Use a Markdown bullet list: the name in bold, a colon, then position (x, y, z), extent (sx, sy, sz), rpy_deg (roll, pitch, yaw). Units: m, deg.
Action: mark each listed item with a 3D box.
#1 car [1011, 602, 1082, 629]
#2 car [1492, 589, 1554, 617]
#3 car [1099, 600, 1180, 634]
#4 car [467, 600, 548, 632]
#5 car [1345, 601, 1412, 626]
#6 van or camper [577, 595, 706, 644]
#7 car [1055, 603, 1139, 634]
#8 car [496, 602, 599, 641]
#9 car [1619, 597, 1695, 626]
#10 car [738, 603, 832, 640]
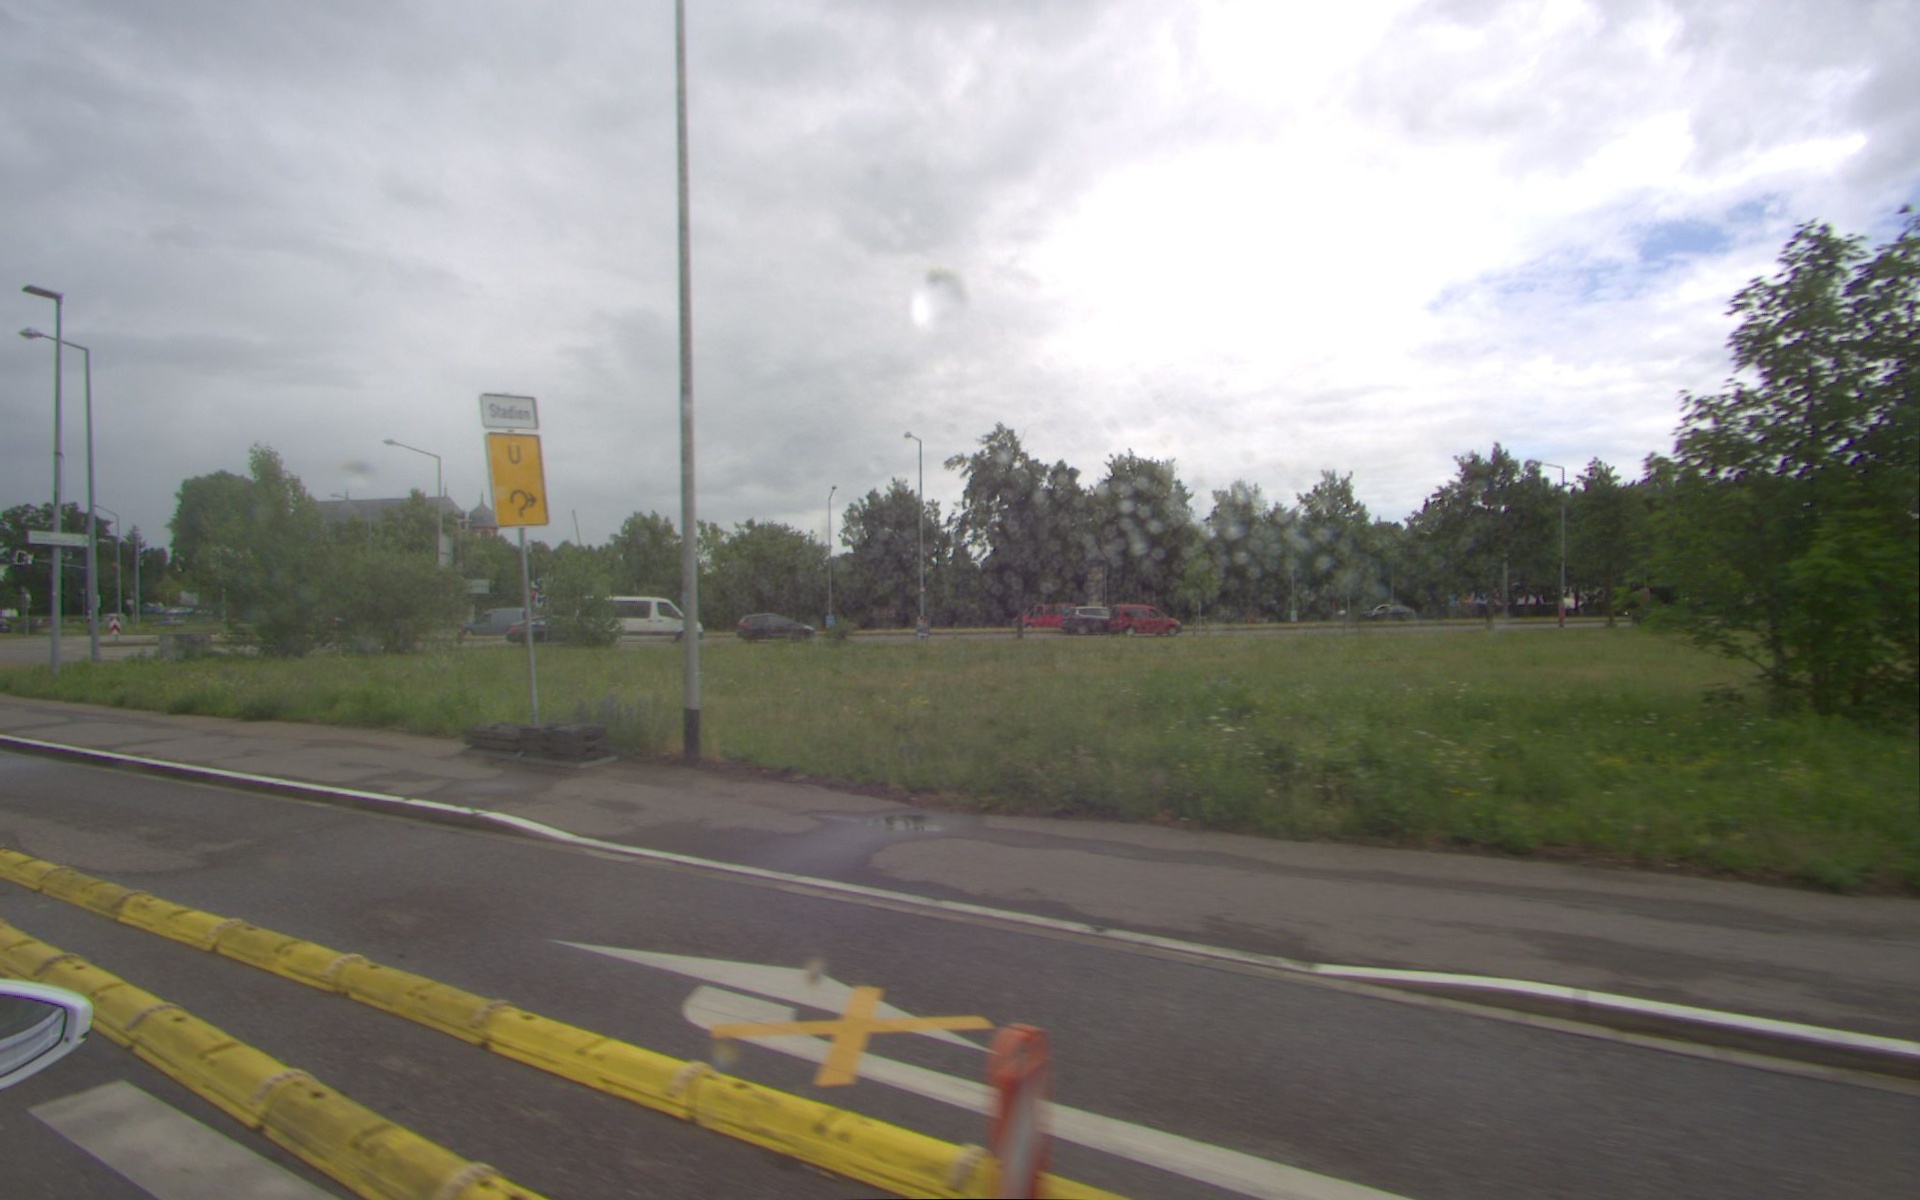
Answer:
- **car**: position (6.385, 1.112, 73.800), extent (4.803, 1.943, 2.112), rpy_deg (0, 0, -16)
- **car**: position (42.724, 0.214, 76.014), extent (3.930, 2.040, 1.996), rpy_deg (0, 0, -18)
- **car**: position (10.298, 0.954, 57.532), extent (4.135, 1.943, 2.111), rpy_deg (0, 0, -19)
- **car**: position (-29.692, 1.059, 65.824), extent (4.391, 2.040, 2.000), rpy_deg (0, 0, -2)
- **car**: position (34.346, 1.092, 82.174), extent (4.850, 2.040, 1.998), rpy_deg (0, 0, -13)
- **van or camper**: position (-14.695, 0.869, 46.319), extent (5.467, 2.143, 1.991), rpy_deg (0, 0, -27)
- **car**: position (8.233, 1.100, 60.197), extent (4.528, 1.819, 2.111), rpy_deg (0, 0, -18)
- **car**: position (-19.657, 0.980, 47.721), extent (4.313, 1.773, 1.989), rpy_deg (0, 0, -31)
- **car**: position (45.840, 0.741, 65.886), extent (4.135, 1.838, 2.073), rpy_deg (0, 0, -19)
- **car**: position (-9.077, 1.091, 51.818), extent (4.529, 1.819, 2.110), rpy_deg (0, 0, -20)
